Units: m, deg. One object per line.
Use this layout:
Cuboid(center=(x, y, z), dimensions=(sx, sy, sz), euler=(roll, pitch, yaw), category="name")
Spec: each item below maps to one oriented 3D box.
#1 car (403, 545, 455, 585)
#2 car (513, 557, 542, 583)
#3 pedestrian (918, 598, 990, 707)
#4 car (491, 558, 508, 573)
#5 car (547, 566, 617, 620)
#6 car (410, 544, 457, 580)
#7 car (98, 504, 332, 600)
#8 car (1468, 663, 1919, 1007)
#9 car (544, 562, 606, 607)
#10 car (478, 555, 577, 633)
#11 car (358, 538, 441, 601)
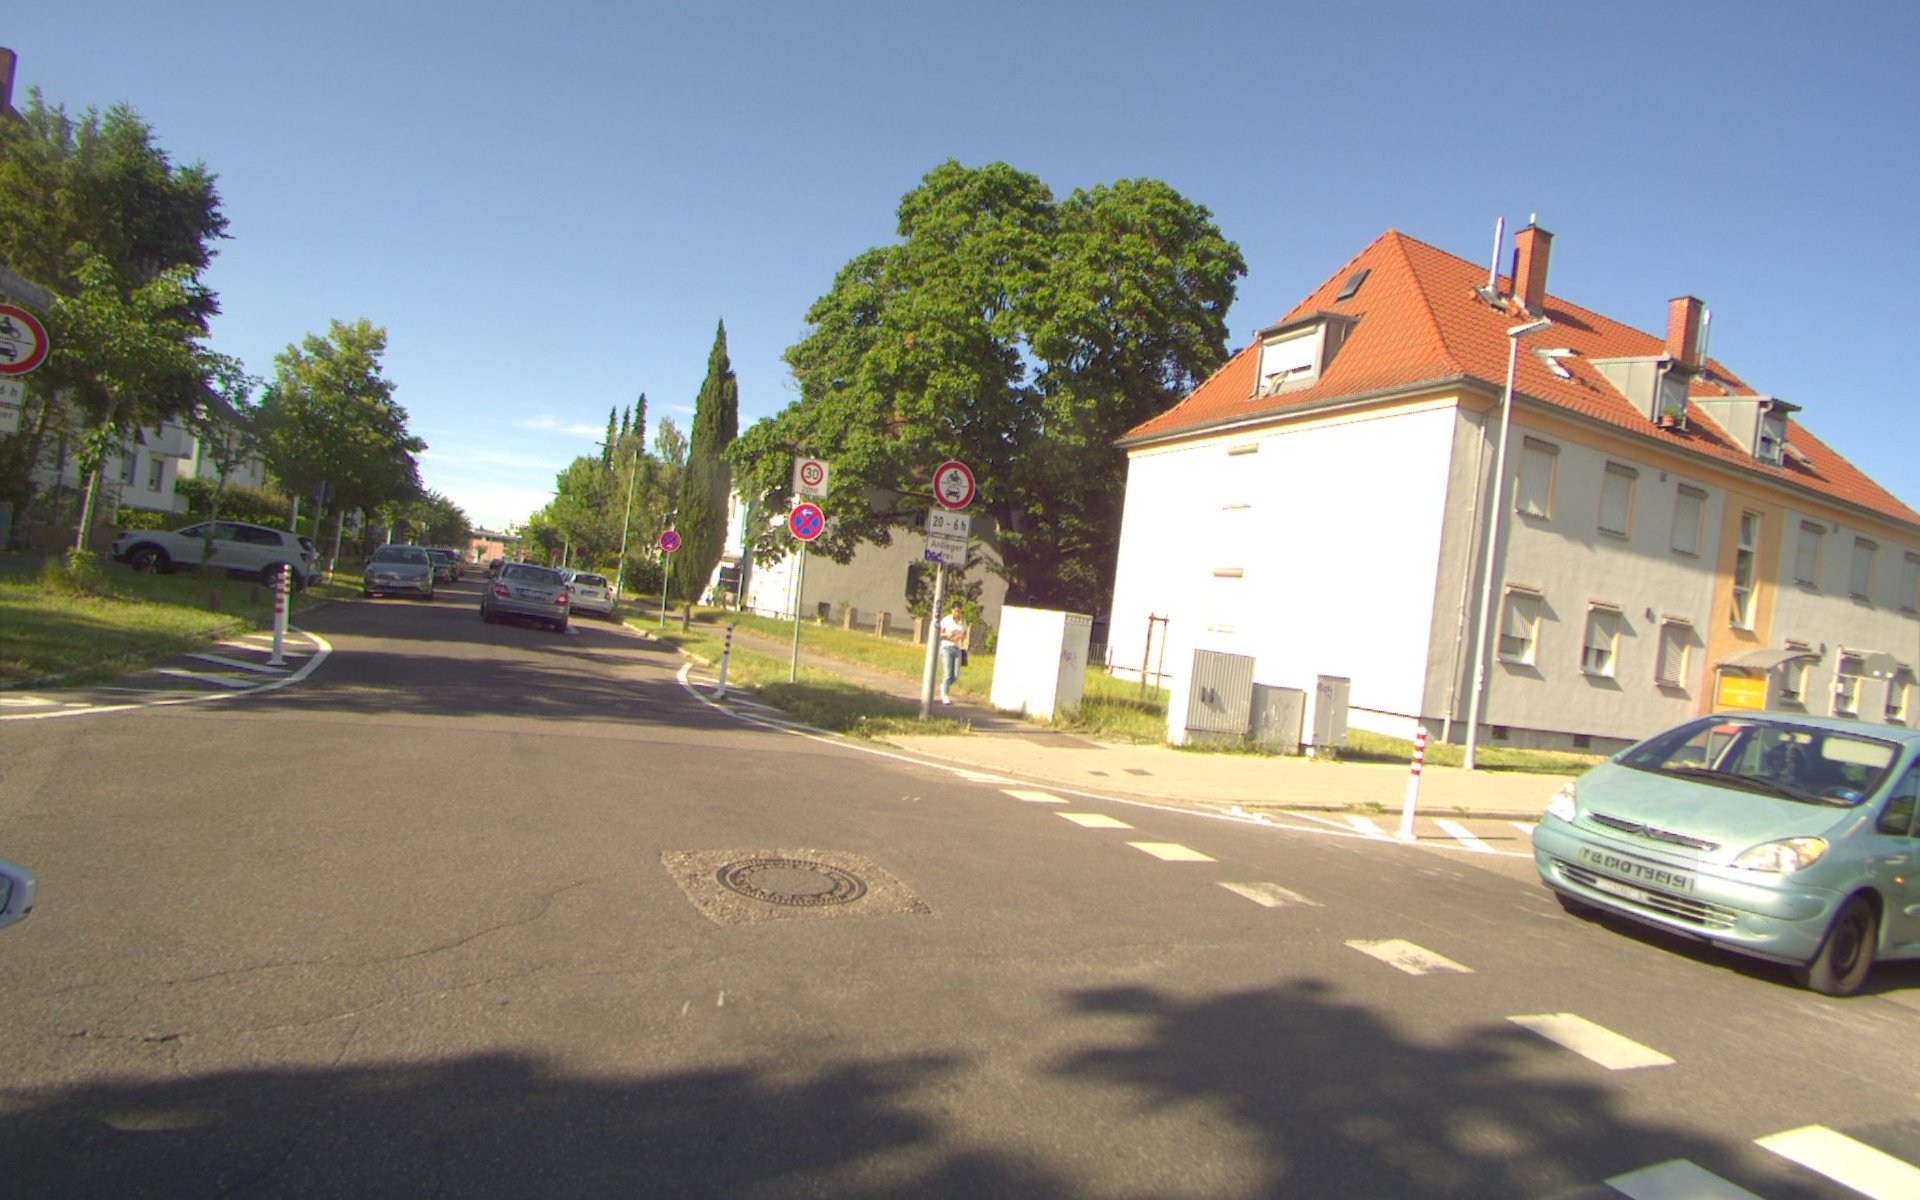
Cuboid(center=(-24.357, -1.613, 46.205), dimensions=(1.975, 1.631, 3.972), euler=(4, 1, -28), category="car")
Cuboid(center=(-36.521, -2.568, 84.917), dimensions=(1.838, 1.863, 3.974), euler=(7, 0, -26), category="car")
Cuboid(center=(-0.101, 0.841, 16.383), dimensions=(0.758, 1.631, 0.830), euler=(7, 0, -21), category="pedestrian")
Cuboid(center=(-56.668, -4.221, 123.782), dimensions=(1.584, 1.629, 3.618), euler=(7, 0, -28), category="car")
Cuboid(center=(-13.060, -0.275, 34.657), dimensions=(1.719, 1.498, 3.699), euler=(7, 0, -28), category="car")
Cuboid(center=(-26.867, -1.947, 51.374), dimensions=(1.975, 1.631, 3.972), euler=(4, 1, -28), category="car")
Cuboid(center=(-17.698, -1.112, 24.175), dimensions=(4.160, 1.582, 1.829), euler=(9, -1, -29), category="car")
Cuboid(center=(5.876, 1.529, 7.006), dimensions=(4.194, 1.628, 1.877), euler=(7, 0, -25), category="car")
Cuboid(center=(-17.022, -0.699, 44.408), dimensions=(1.977, 1.629, 3.972), euler=(7, -1, -28), category="car")
Cuboid(center=(-10.189, -0.182, 23.635), dimensions=(1.819, 1.458, 3.977), euler=(8, -1, -24), category="car")
Cuboid(center=(-16.760, -0.940, 30.233), dimensions=(1.975, 1.631, 3.972), euler=(4, 1, -28), category="car")
